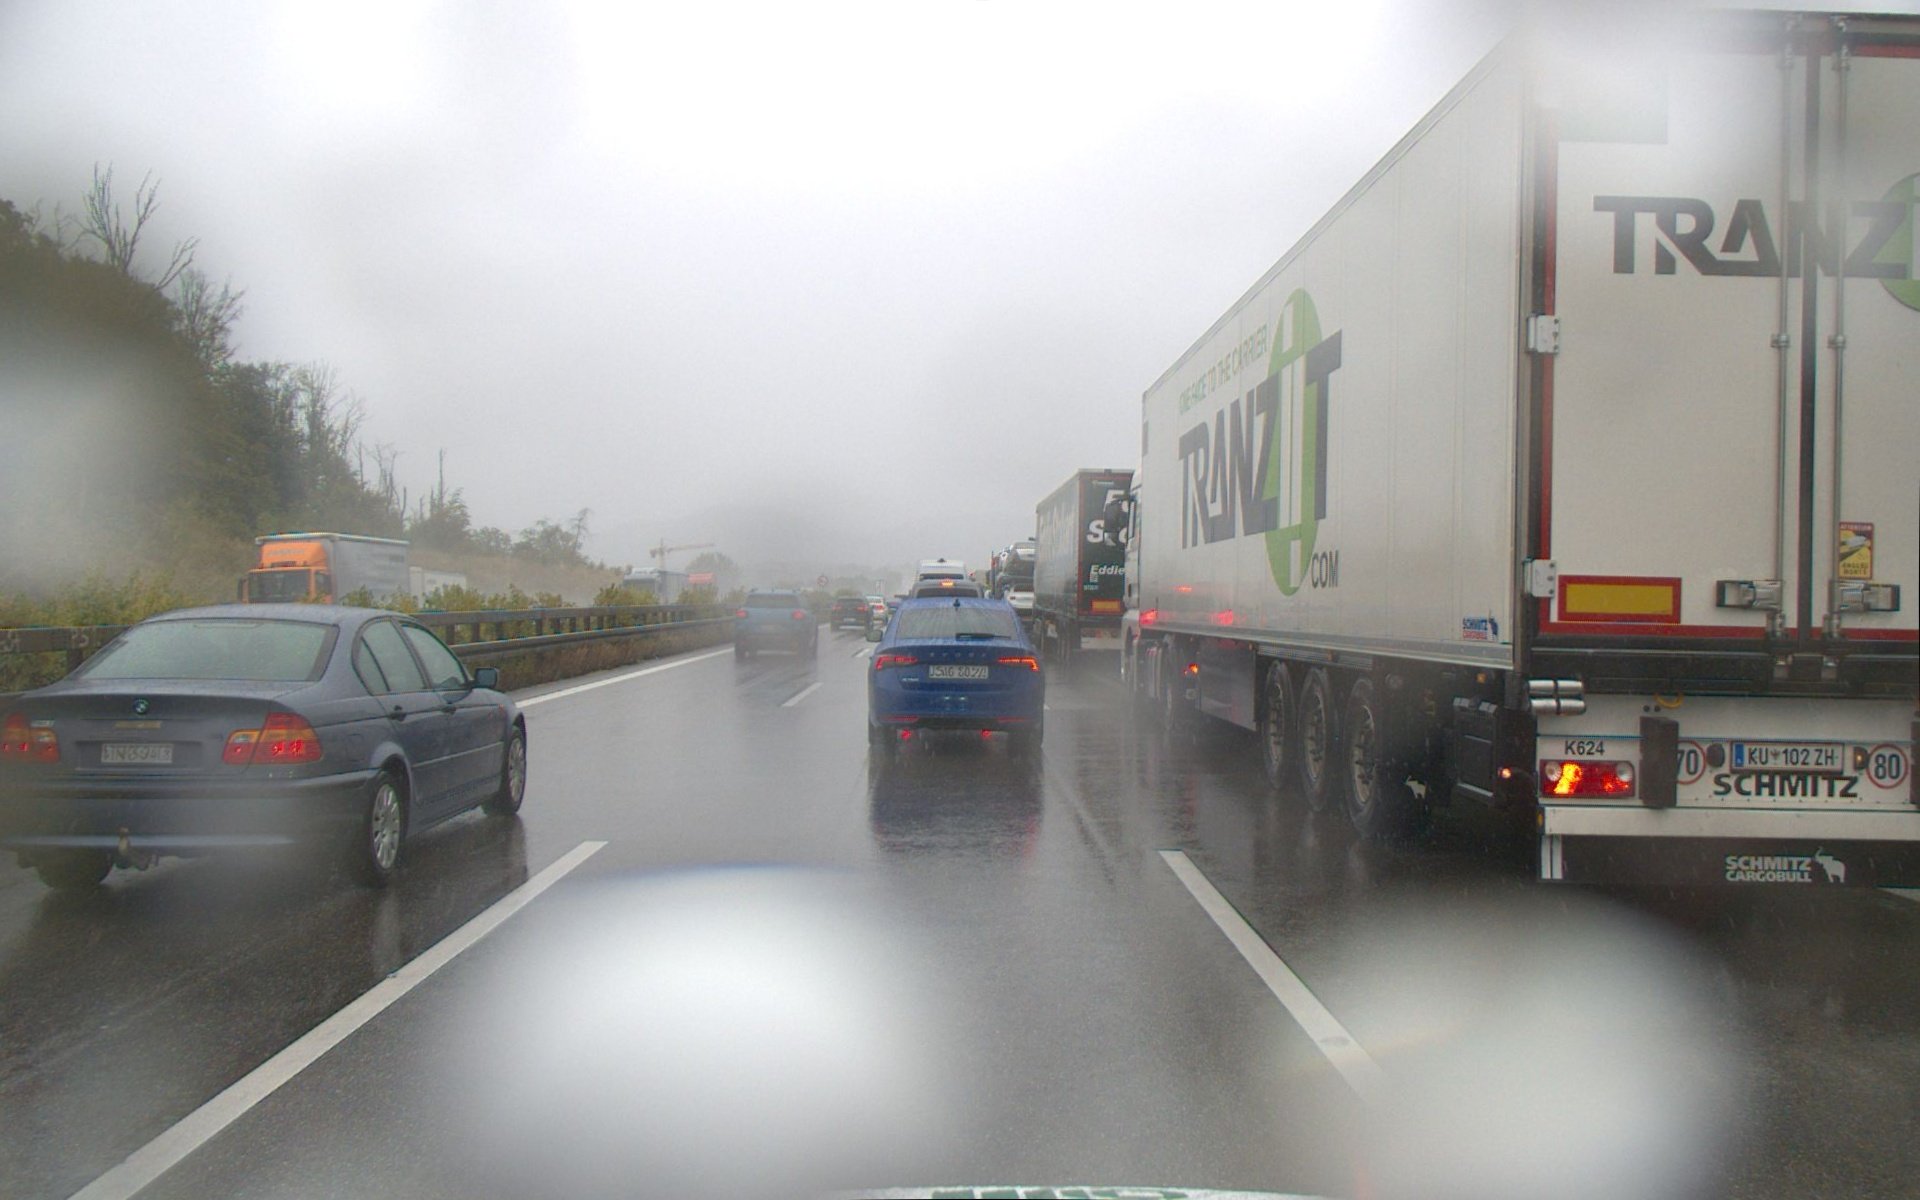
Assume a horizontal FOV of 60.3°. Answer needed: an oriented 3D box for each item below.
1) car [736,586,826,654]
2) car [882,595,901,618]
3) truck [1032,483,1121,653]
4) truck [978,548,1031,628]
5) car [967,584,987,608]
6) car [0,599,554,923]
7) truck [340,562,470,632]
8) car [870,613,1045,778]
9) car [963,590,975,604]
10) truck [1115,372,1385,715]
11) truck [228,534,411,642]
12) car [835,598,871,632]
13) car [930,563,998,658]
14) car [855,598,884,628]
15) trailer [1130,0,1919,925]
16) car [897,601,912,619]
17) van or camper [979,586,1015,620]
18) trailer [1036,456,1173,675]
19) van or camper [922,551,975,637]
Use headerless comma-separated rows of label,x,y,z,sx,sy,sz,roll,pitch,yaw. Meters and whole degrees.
car,-4.236,0.448,39.575,1.686,1.550,4.000,0,0,0
car,-5.455,0.498,132.159,1.419,1.815,3.409,1,0,-1
truck,3.011,-0.817,43.421,2.005,4.266,4.000,0,0,-1
truck,1.964,-0.599,75.977,1.953,3.481,8.030,0,1,-2
car,1.284,-0.331,127.506,1.419,1.815,3.409,1,0,-1
car,-3.672,0.715,9.471,1.683,1.424,4.229,0,0,-1
truck,-21.514,-0.115,64.558,2.597,2.524,7.890,1,0,-2
car,-0.013,0.893,17.195,1.602,1.470,4.000,0,0,0
car,1.200,-0.390,219.407,1.419,1.815,3.409,1,0,-1
truck,3.529,-0.661,21.247,2.577,3.894,4.790,0,0,-1
truck,-21.388,-0.451,55.905,2.866,3.339,9.252,0,1,-2
car,-4.635,0.639,71.957,1.410,1.445,3.321,0,0,-1
car,0.065,0.186,33.472,1.309,1.811,3.321,0,0,-1
car,-4.865,0.664,89.095,1.410,1.560,3.321,0,0,-1
trailer,3.601,-0.700,14.485,2.577,4.083,14.627,0,1,-1
car,-5.585,0.976,166.230,1.419,1.815,3.409,1,0,-1
van or camper,1.926,0.135,86.497,1.736,1.653,4.483,0,1,-1
trailer,3.068,-0.720,37.774,2.005,4.249,11.447,0,0,-1
van or camper,-0.407,-0.232,57.397,1.761,2.855,4.767,0,0,-1
